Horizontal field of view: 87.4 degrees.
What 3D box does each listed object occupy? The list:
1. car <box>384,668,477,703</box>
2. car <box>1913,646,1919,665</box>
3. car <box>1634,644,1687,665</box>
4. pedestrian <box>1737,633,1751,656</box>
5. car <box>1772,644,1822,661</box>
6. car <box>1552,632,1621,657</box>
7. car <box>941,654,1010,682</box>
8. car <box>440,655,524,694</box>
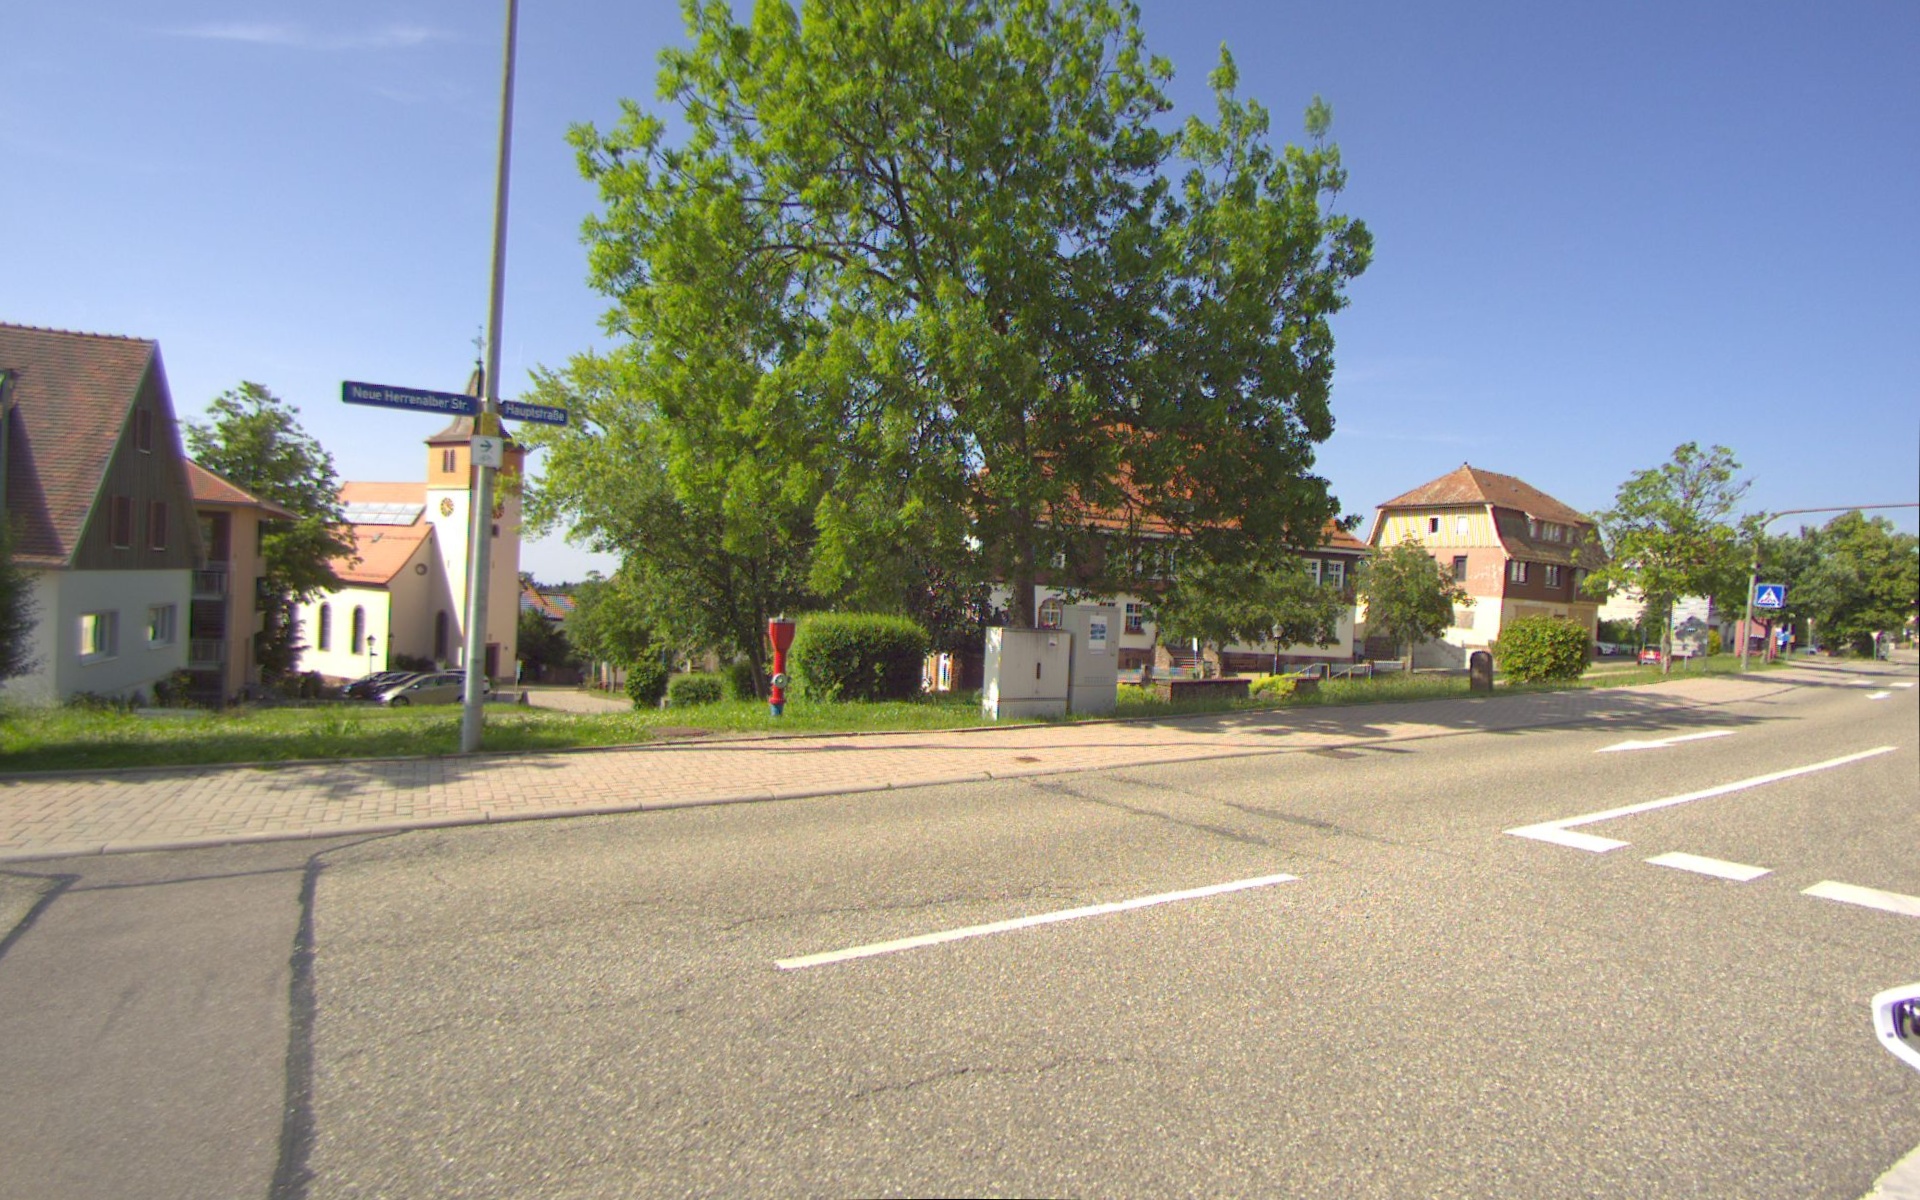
[{"bbox_3d":[-23.900,3.818,45.350,3.586,1.372,1.462,1,-2,-35],"label":"car"},{"bbox_3d":[109.635,6.295,113.640,2.467,2.040,4.282,0,-2,42],"label":"car"},{"bbox_3d":[48.113,3.730,68.972,3.958,1.314,1.710,2,-1,-34],"label":"car"},{"bbox_3d":[45.002,2.562,57.650,0.621,1.269,0.422,0,-2,40],"label":"pedestrian"},{"bbox_3d":[88.331,5.529,106.001,1.801,1.472,3.734,9,-6,-35],"label":"car"},{"bbox_3d":[49.883,3.550,80.040,1.784,1.531,4.269,5,0,-37],"label":"car"},{"bbox_3d":[0.837,3.748,55.352,3.448,1.486,1.571,2,-2,-20],"label":"car"},{"bbox_3d":[-26.832,4.152,56.412,3.962,2.040,1.980,2,-3,-36],"label":"car"}]
